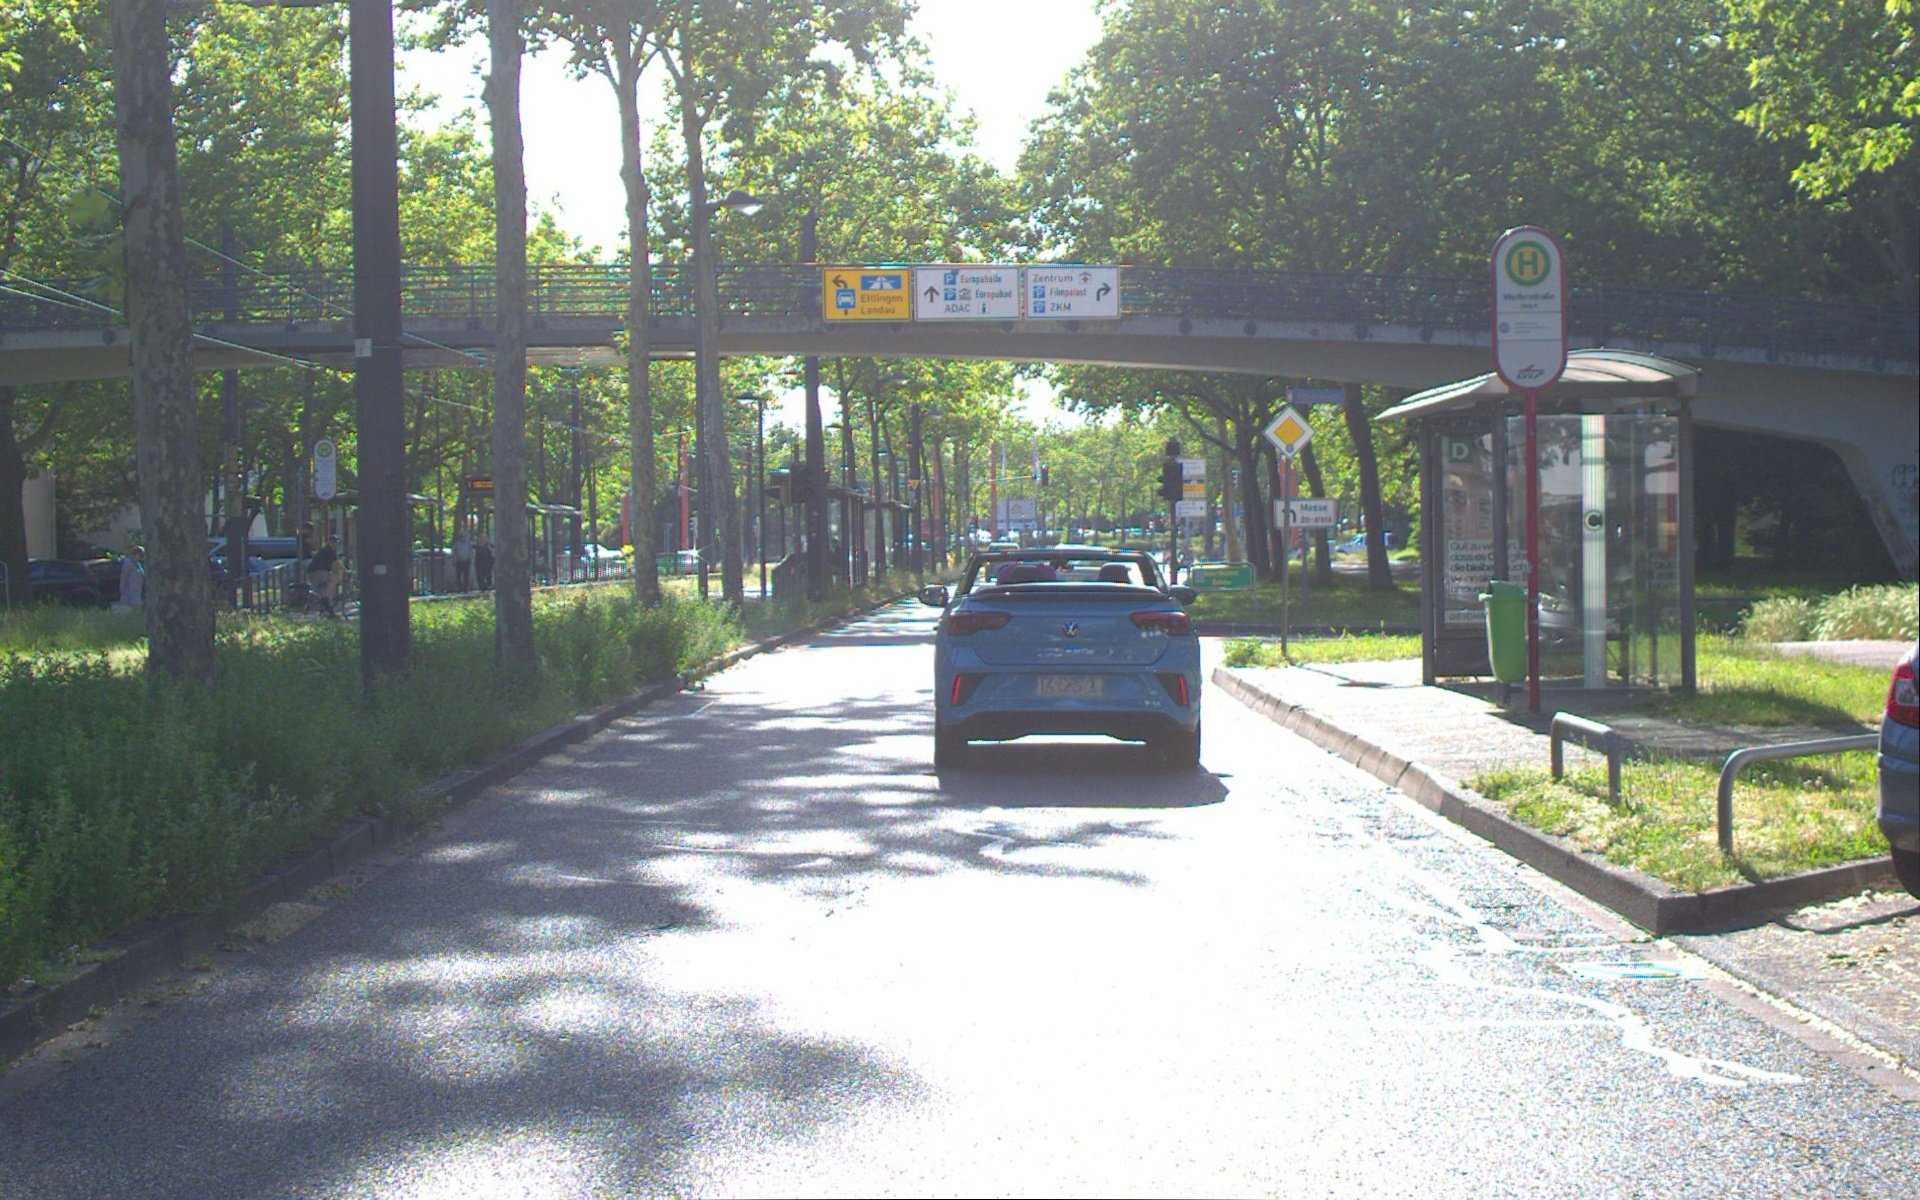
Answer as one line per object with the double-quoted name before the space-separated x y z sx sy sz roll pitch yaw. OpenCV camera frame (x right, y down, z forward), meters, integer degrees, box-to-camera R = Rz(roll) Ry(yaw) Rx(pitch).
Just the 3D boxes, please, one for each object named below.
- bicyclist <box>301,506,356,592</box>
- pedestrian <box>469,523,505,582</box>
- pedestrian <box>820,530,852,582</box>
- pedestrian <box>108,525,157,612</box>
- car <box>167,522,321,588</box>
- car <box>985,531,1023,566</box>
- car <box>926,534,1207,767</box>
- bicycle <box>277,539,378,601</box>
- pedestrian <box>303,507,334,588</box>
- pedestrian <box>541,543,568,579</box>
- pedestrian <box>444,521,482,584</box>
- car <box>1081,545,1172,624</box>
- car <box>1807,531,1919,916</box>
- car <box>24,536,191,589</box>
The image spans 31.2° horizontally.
"bicyclist" -12.133 -0.990 66.083 0.953 1.626 0.815 1 2 -6
"pedestrian" -12.305 -1.240 89.352 0.682 1.508 0.644 -2 1 13
"pedestrian" -3.019 -1.059 83.609 0.733 1.248 0.588 1 0 -4
"pedestrian" -16.059 -0.613 66.761 0.725 1.668 1.049 0 1 -2
"car" -23.256 -1.472 111.720 4.486 2.056 1.900 0 2 -37
"car" 2.029 -2.372 158.731 1.710 1.598 3.350 0 1 1
"car" 0.667 0.287 24.115 1.776 1.478 4.100 0 1 -1
"bicycle" -12.149 -0.584 66.100 1.830 1.143 0.815 1 2 -6
"pedestrian" -14.190 -1.160 76.041 0.502 1.764 0.484 0 1 -39
"pedestrian" -13.278 -1.280 112.595 0.694 1.123 0.662 -4 0 2
"pedestrian" -13.082 -1.251 90.481 0.714 1.629 0.731 -1 1 18
"car" 3.890 -0.387 80.936 1.982 1.786 4.614 -1 1 1
"car" 5.235 0.393 14.315 1.517 1.467 3.819 -1 1 45
"car" -23.752 -1.047 95.851 4.187 1.423 1.700 0 2 -37
